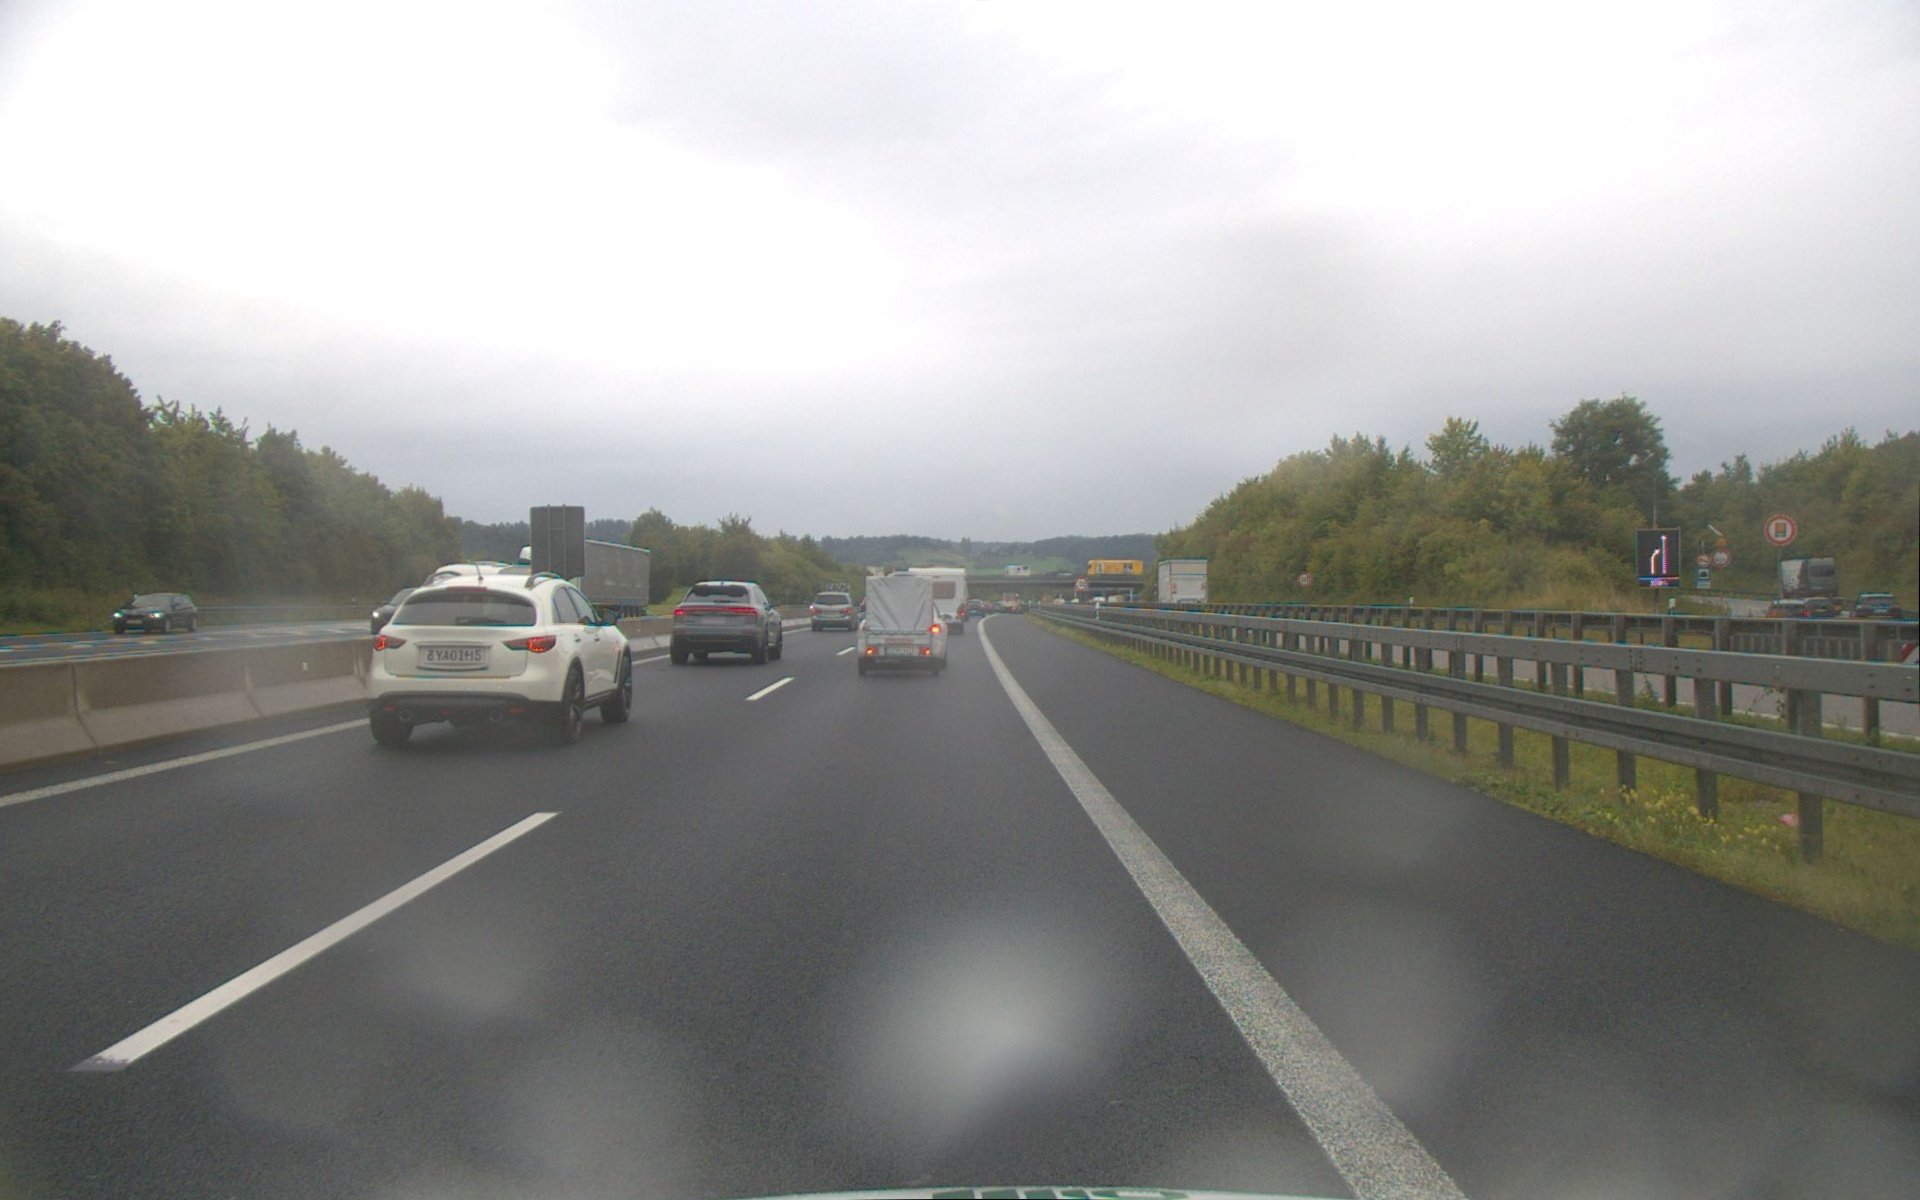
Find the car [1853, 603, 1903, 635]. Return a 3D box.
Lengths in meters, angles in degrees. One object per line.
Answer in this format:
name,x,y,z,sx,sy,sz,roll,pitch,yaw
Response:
car,42.801,0.869,77.143,1.823,1.473,4.153,0,0,26

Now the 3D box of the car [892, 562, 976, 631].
car,-0.984,-0.152,67.166,2.953,2.662,6.077,0,0,3

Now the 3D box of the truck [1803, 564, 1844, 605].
truck,59.742,-1.059,114.387,2.393,2.752,5.559,0,0,29

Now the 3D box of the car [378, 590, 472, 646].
car,-16.217,0.512,50.334,1.496,1.648,4.387,0,0,-1

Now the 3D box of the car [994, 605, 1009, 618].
car,5.846,1.669,232.437,1.952,1.780,4.002,1,0,4

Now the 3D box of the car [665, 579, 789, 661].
car,-4.974,0.411,35.902,2.130,1.660,4.499,0,0,-1

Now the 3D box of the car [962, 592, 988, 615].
car,1.206,0.259,133.386,1.952,1.780,4.001,1,0,2

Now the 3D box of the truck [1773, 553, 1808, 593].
truck,62.387,-1.964,124.200,2.202,2.929,8.162,0,0,28

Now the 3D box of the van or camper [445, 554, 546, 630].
van or camper,-16.015,-0.288,57.287,1.758,2.513,5.549,0,0,2

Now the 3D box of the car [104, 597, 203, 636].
car,-28.816,0.568,59.217,1.654,1.316,3.922,0,0,-1

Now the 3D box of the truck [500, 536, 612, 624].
truck,-19.742,-0.948,81.321,3.191,4.155,7.445,0,0,4

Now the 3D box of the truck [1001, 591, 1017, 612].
truck,7.700,0.214,259.609,2.230,3.136,7.249,1,0,4

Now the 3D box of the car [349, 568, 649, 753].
car,-4.598,0.550,17.230,1.936,1.668,4.499,0,0,-1

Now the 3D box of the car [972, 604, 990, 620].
car,2.395,1.413,189.904,1.952,1.780,4.001,1,0,3

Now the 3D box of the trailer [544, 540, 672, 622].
trailer,-19.100,-0.993,91.028,3.191,4.155,13.852,0,0,4

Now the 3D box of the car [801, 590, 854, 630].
car,-5.522,0.389,69.399,1.861,1.641,4.017,0,0,0

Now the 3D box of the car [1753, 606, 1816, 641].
car,36.133,0.992,72.551,1.821,1.473,4.160,0,0,17

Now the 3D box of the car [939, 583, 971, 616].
car,-0.356,-0.039,106.429,1.953,2.071,4.150,1,0,-1

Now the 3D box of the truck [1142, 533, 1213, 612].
truck,15.021,-1.847,115.103,4.008,5.193,10.467,0,0,3

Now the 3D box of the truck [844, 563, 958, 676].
truck,-1.057,0.336,33.191,1.977,2.020,7.213,0,0,0
